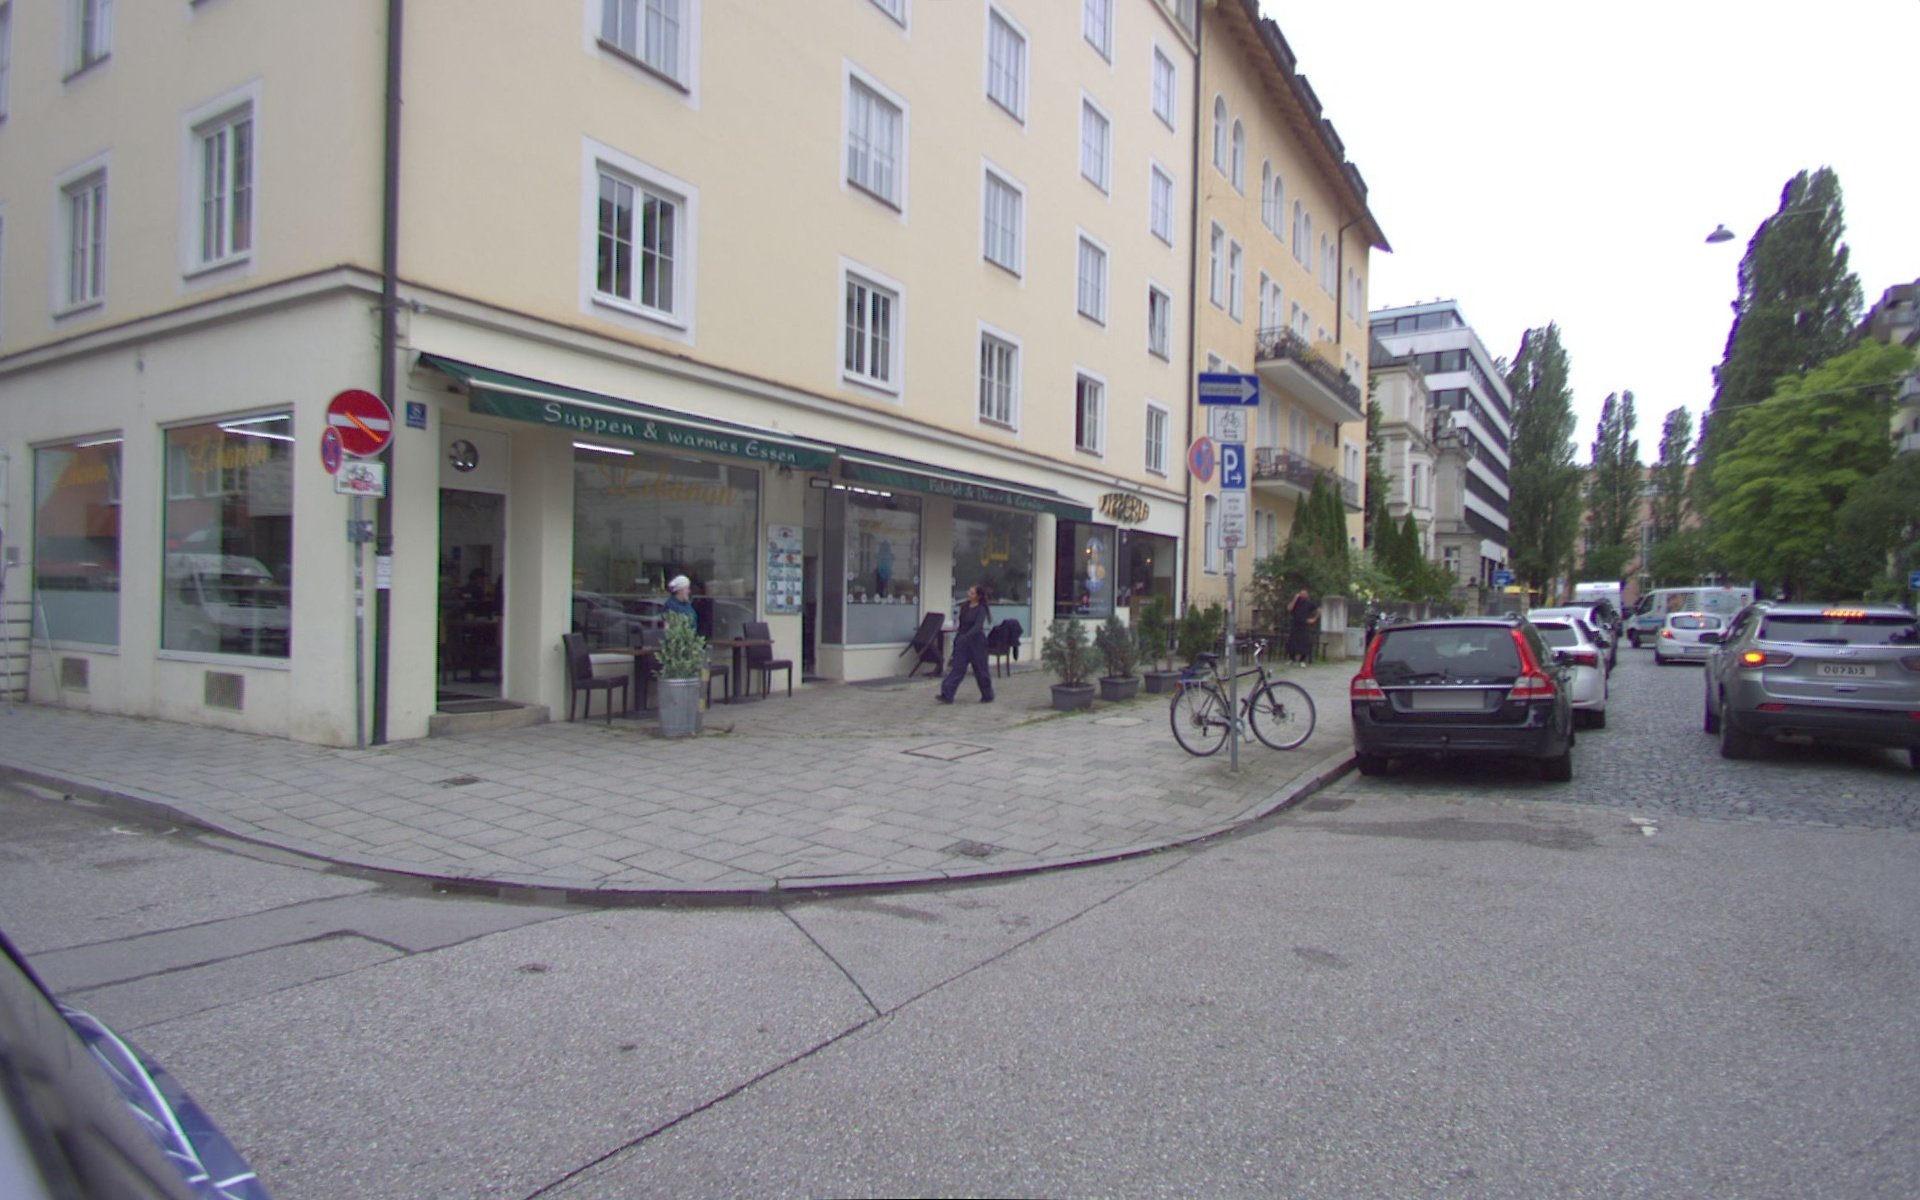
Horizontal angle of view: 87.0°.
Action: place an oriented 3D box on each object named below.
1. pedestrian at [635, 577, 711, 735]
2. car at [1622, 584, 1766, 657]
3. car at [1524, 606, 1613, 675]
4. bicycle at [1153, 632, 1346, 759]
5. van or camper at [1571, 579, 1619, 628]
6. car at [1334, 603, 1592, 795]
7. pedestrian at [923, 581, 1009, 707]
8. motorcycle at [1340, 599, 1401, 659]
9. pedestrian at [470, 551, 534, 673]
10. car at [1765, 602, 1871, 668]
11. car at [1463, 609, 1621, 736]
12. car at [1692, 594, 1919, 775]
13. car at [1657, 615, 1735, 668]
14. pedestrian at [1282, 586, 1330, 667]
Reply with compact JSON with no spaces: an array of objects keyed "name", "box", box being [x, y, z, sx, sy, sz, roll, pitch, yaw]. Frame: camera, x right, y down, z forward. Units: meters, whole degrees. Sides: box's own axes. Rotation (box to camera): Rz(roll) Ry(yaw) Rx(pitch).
[{"name":"pedestrian","box":[-3.109,0.591,10.998,0.534,1.654,0.602,1,0,18]},{"name":"car","box":[26.861,0.708,37.266,2.135,2.494,4.597,1,0,4]},{"name":"car","box":[14.321,0.889,23.727,1.616,1.453,3.954,1,0,34]},{"name":"bicycle","box":[2.916,0.936,10.198,1.803,1.178,0.611,1,1,-19]},{"name":"van or camper","box":[39.798,0.228,63.385,2.421,2.957,5.312,1,0,33]},{"name":"car","box":[5.336,0.848,10.443,1.897,1.527,4.301,-4,-2,32]},{"name":"pedestrian","box":[0.085,0.552,13.365,0.747,1.563,0.843,3,2,32]},{"name":"motorcycle","box":[10.692,0.765,26.286,0.961,1.473,2.857,0,-2,32]},{"name":"pedestrian","box":[-6.784,0.185,14.979,0.746,1.738,0.772,2,-1,-28]},{"name":"car","box":[23.614,0.924,27.988,1.703,1.660,3.955,1,0,33]},{"name":"car","box":[8.323,0.917,14.454,1.678,1.519,4.219,-2,-2,31]},{"name":"car","box":[9.399,0.793,11.087,1.958,1.620,4.261,0,-1,32]},{"name":"car","box":[20.267,1.099,27.957,1.602,1.340,2.919,1,0,34]},{"name":"pedestrian","box":[7.468,0.559,21.821,0.731,1.668,0.783,3,1,34]}]
